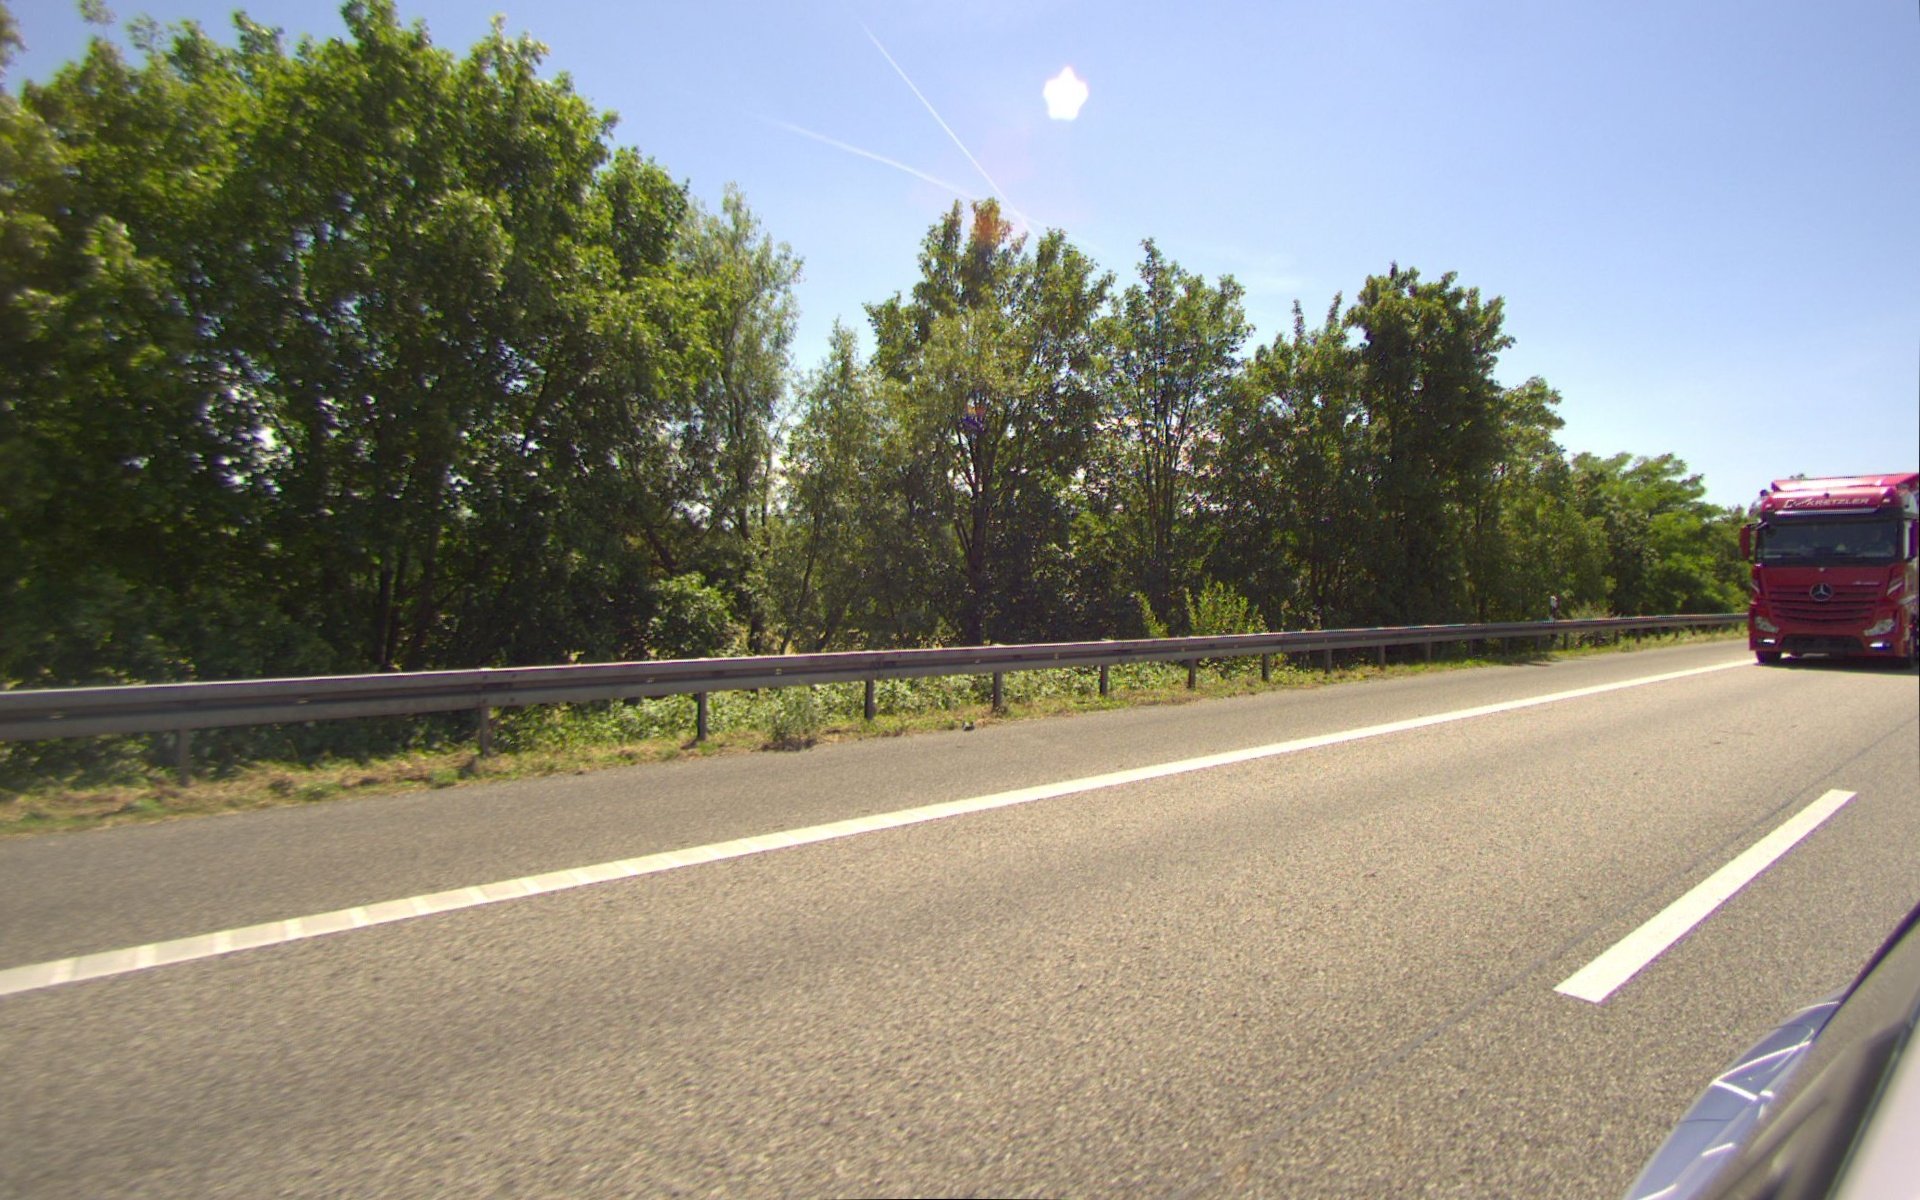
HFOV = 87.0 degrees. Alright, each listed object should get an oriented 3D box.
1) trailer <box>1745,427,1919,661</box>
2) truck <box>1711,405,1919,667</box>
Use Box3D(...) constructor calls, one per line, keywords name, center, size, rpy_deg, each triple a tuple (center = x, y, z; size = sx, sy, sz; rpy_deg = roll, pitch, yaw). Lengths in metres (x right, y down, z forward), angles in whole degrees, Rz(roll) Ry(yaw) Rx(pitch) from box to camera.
Box3D(name="trailer", center=(24.511, -1.149, 26.659), size=(13.780, 4.898, 3.276), rpy_deg=(1, 0, -40))
Box3D(name="truck", center=(19.655, -1.209, 22.511), size=(6.848, 4.951, 3.241), rpy_deg=(1, 0, -40))
